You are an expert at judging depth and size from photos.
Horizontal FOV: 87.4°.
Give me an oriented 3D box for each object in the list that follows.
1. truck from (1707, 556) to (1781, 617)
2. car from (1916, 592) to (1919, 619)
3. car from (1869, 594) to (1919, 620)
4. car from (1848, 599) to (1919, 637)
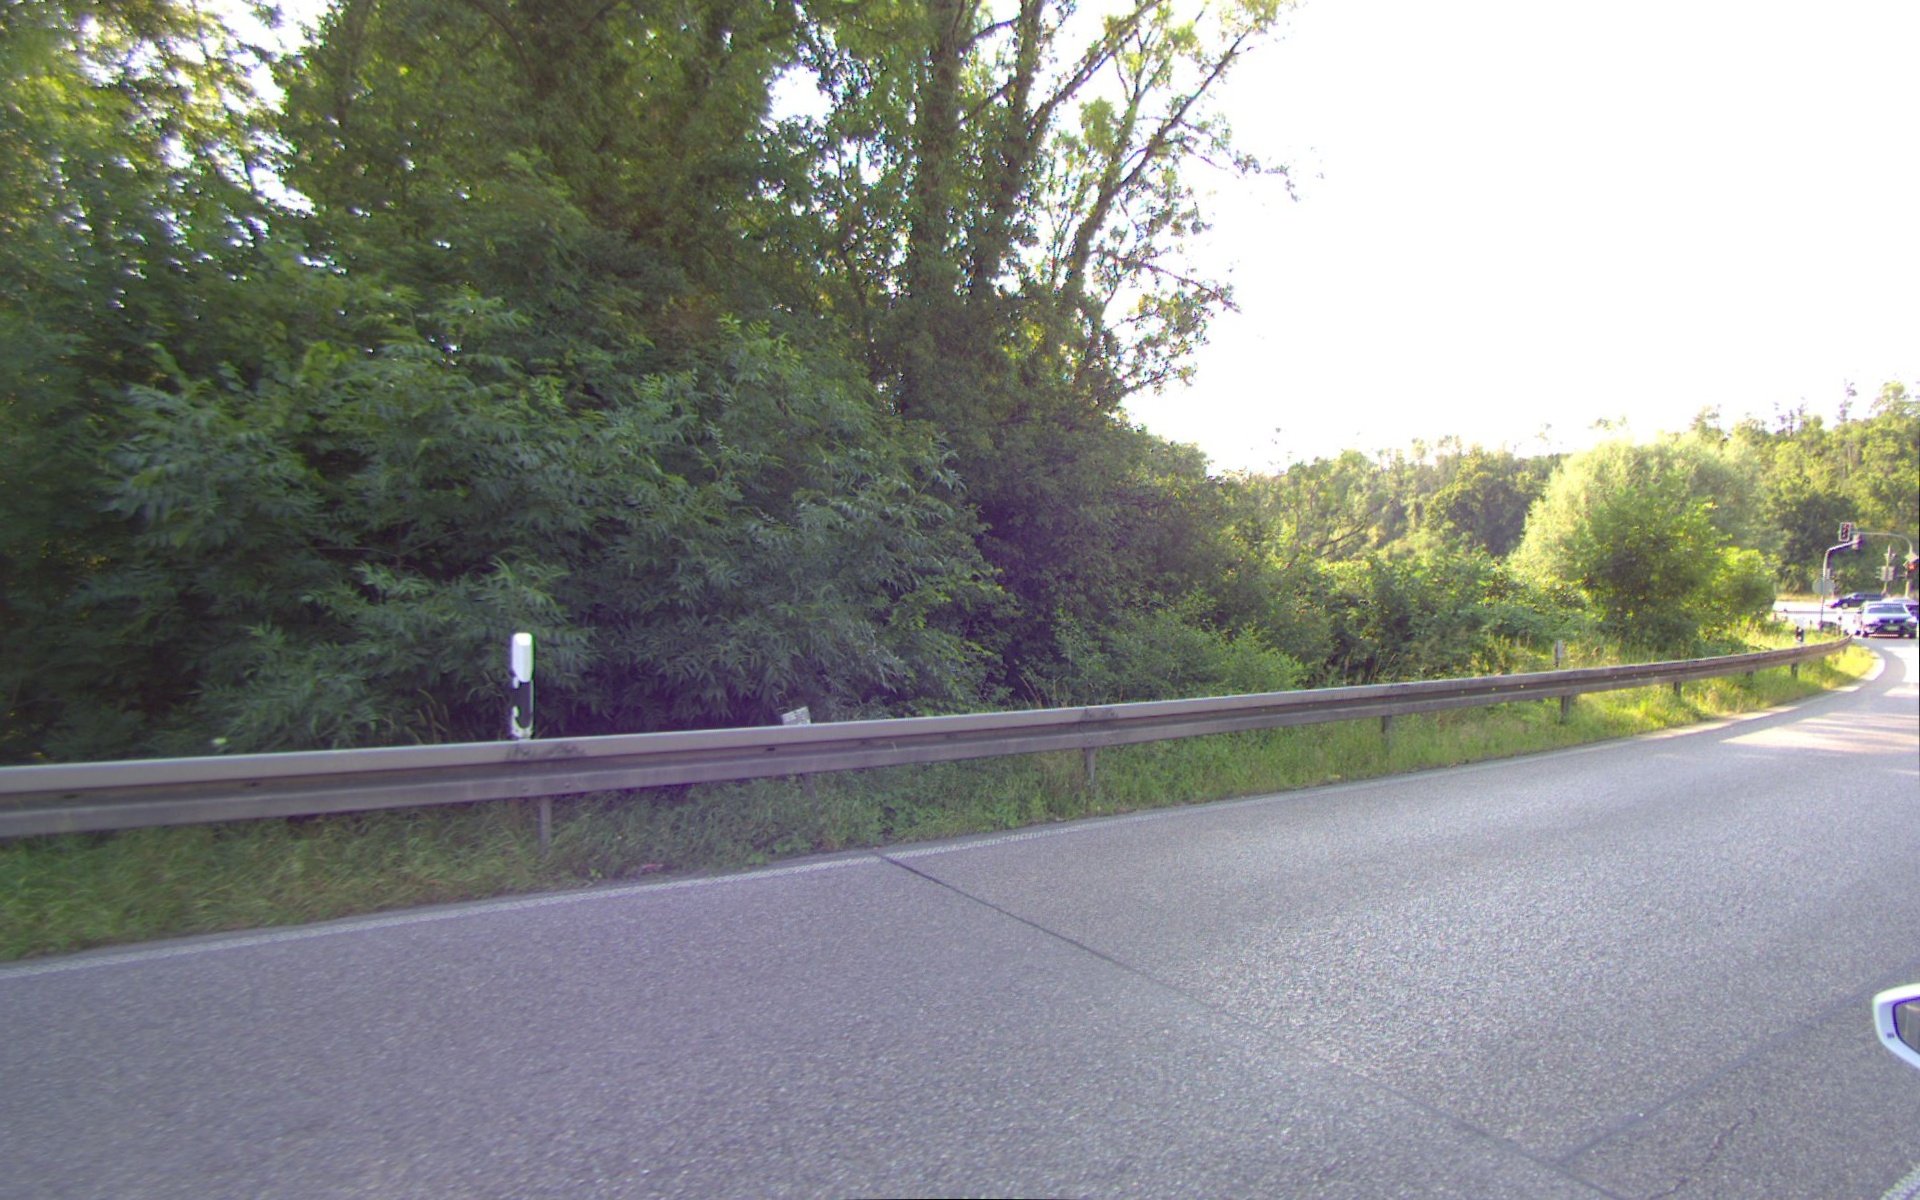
[{"bbox_3d":[64.311,-1.073,82.311,10.167,4.647,2.983,0,3,-43],"label":"truck"},{"bbox_3d":[57.917,0.390,58.928,1.841,1.616,3.990,3,2,32],"label":"car"},{"bbox_3d":[61.939,0.416,66.454,1.841,1.586,3.991,3,2,31],"label":"car"},{"bbox_3d":[41.599,0.772,45.312,1.843,1.586,3.986,0,0,35],"label":"car"}]
